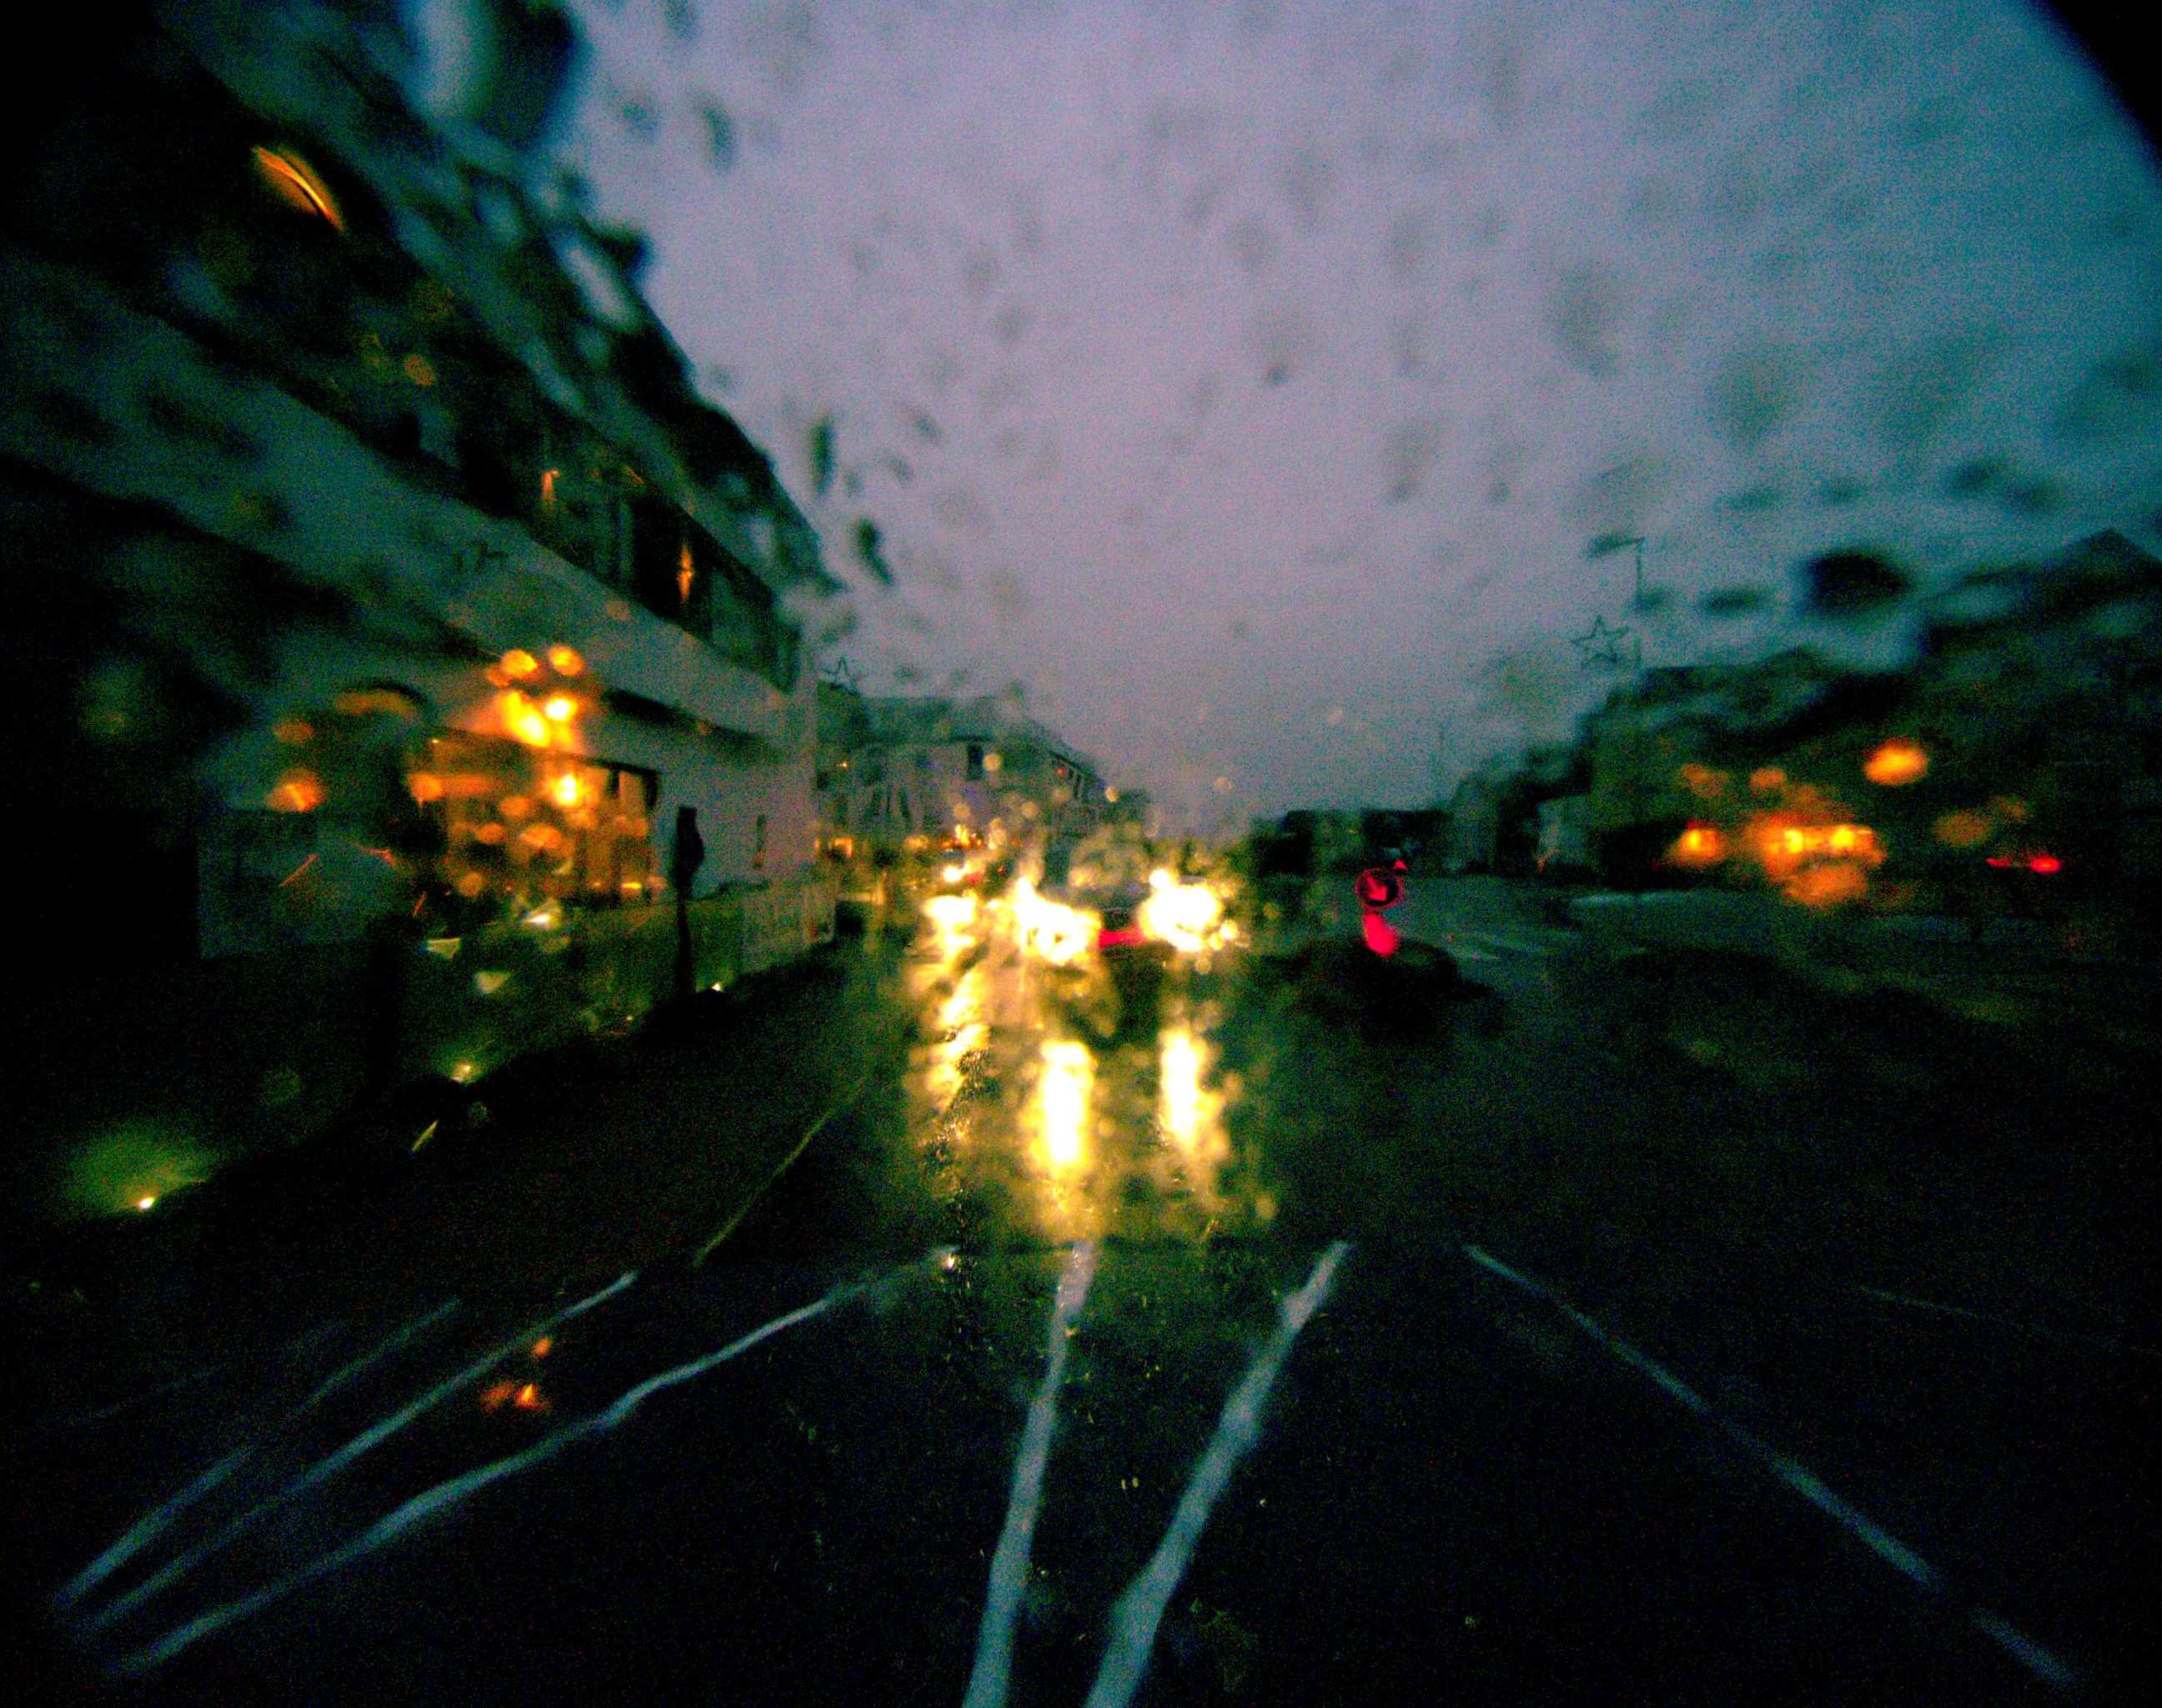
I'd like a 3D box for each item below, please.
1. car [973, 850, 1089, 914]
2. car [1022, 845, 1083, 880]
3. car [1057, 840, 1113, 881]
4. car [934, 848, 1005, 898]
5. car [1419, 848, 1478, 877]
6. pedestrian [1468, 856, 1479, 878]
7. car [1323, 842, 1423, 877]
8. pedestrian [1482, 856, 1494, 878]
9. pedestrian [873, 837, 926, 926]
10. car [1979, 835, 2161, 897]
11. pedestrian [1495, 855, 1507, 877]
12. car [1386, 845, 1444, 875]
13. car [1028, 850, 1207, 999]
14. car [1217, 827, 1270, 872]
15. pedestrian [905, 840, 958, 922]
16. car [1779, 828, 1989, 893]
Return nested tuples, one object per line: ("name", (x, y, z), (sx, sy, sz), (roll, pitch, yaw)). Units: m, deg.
("car", (-1.467, 0.676, 20.642), (1.766, 1.471, 4.011), (-3, 2, -25))
("car", (-1.541, 0.452, 42.749), (1.822, 1.736, 4.005), (-1, 3, 23))
("car", (0.177, 0.233, 32.386), (2.172, 1.469, 3.998), (-2, 2, 1))
("car", (-4.194, 0.620, 27.903), (2.029, 1.471, 4.550), (-3, 2, -15))
("car", (27.340, 0.597, 56.601), (1.936, 1.871, 3.866), (-3, 2, -13))
("pedestrian", (29.560, 1.006, 57.165), (0.582, 1.602, 0.500), (-2, 3, 5))
("car", (14.691, 0.240, 38.443), (1.892, 1.596, 4.361), (-4, 3, -39))
("pedestrian", (30.695, 0.958, 57.312), (0.582, 1.602, 0.500), (-2, 3, 5))
("pedestrian", (-3.951, 0.582, 16.545), (0.789, 1.856, 0.711), (1, 4, 44))
("car", (26.469, 0.301, 19.631), (3.888, 1.494, 1.710), (-1, 1, 32))
("pedestrian", (31.595, 0.929, 57.154), (0.582, 1.602, 0.500), (-2, 3, 5))
("car", (24.664, 0.433, 56.316), (1.926, 2.003, 3.966), (-3, 2, -13))
("car", (0.319, 0.768, 10.473), (1.958, 1.576, 4.108), (-1, 1, -3))
("car", (8.084, -0.292, 37.545), (2.055, 1.976, 4.541), (-1, 2, 18))
("pedestrian", (-3.349, 0.592, 17.032), (0.789, 1.752, 0.770), (1, 4, 44))
("car", (26.947, 0.227, 25.720), (4.455, 2.003, 2.002), (-1, 3, 18))
